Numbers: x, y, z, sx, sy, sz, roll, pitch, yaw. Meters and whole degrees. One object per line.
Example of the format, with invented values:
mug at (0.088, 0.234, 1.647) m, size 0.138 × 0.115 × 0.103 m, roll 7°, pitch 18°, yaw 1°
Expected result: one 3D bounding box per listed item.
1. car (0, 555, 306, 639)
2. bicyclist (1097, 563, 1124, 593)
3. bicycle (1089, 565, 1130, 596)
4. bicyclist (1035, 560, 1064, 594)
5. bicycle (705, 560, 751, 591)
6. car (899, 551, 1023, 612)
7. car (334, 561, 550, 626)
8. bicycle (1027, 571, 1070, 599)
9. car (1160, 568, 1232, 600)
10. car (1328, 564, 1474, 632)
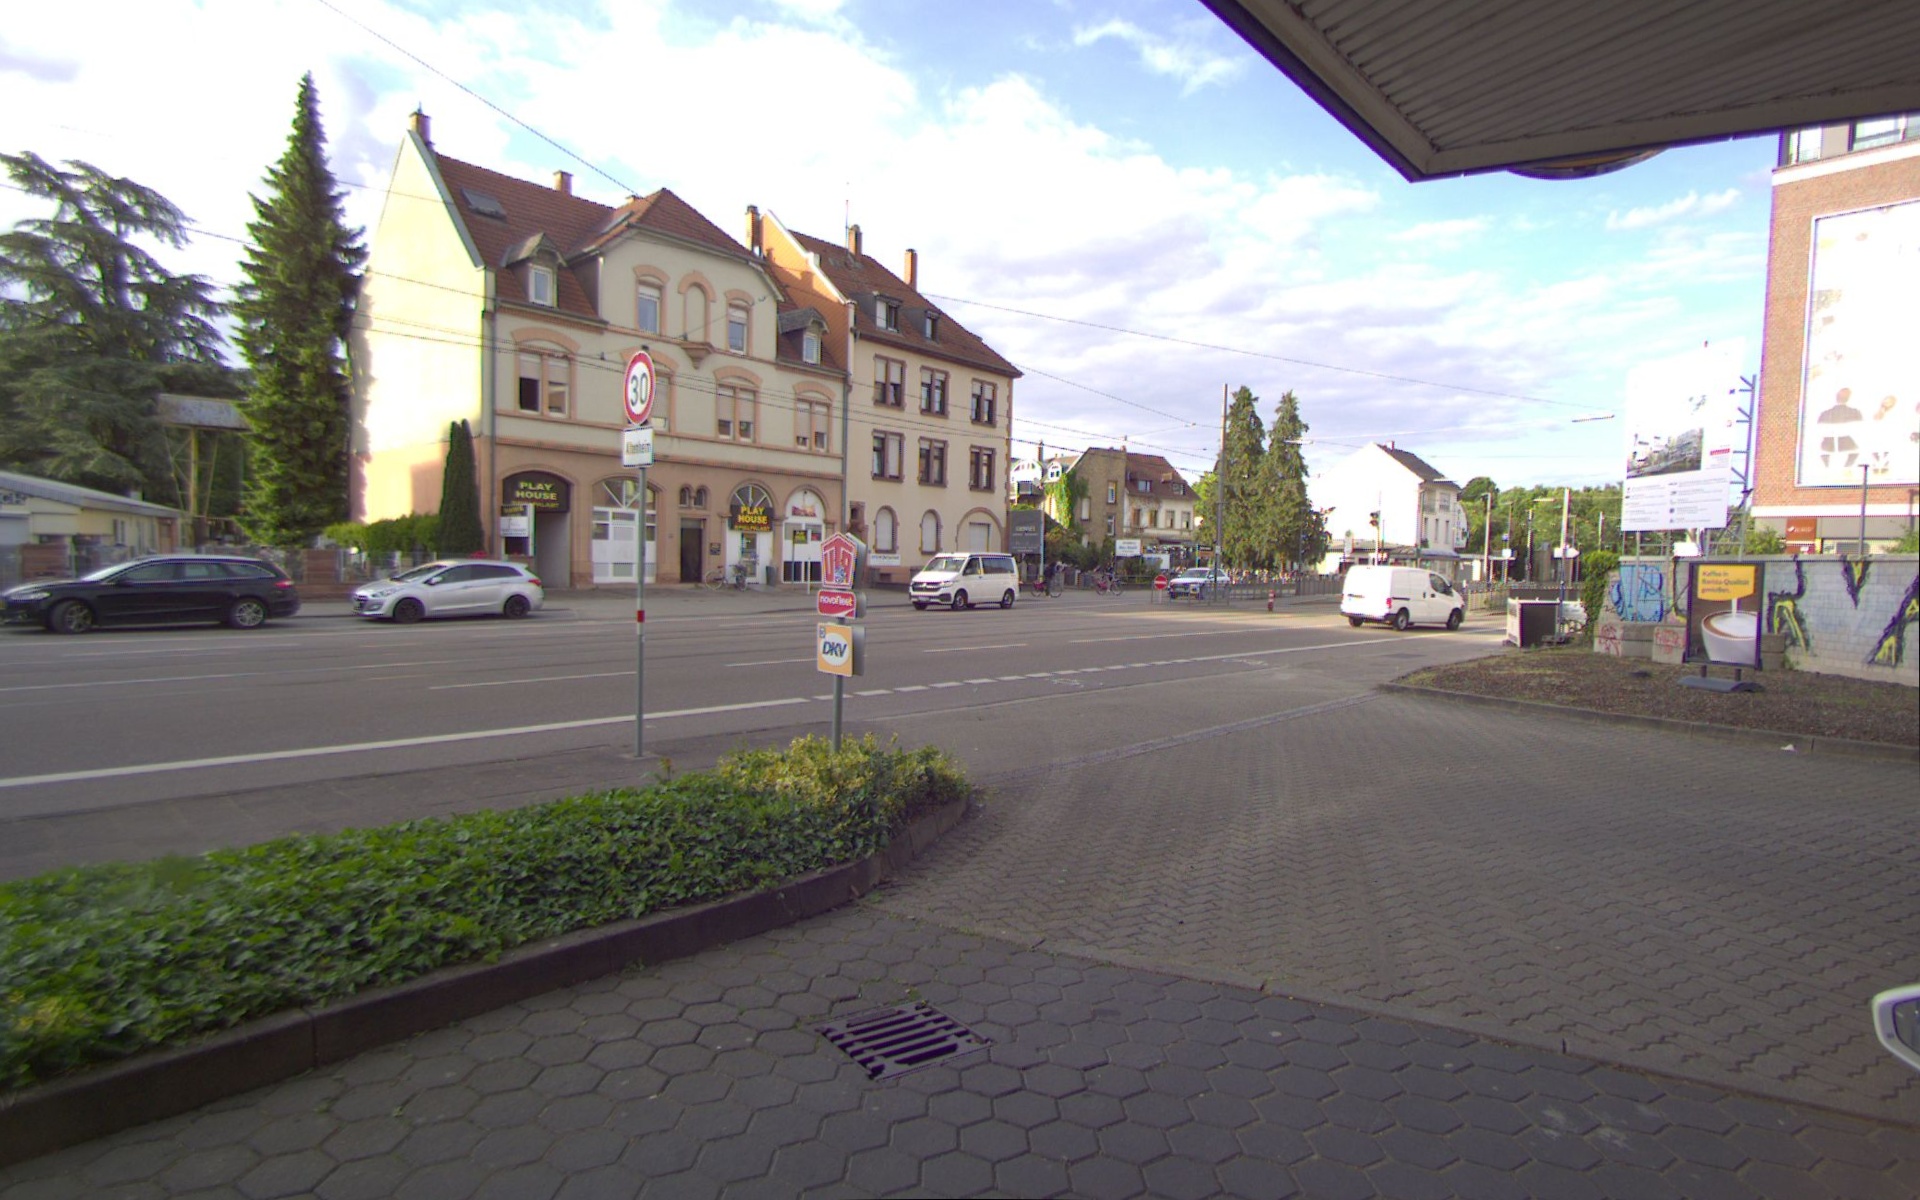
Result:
car at (-16.573, -0.141, 20.734) m, size 1.970 × 1.516 × 4.801 m, roll 3°, pitch 3°, yaw 40°
bicyclist at (7.950, -1.173, 53.054) m, size 1.079 × 1.512 × 0.785 m, roll 2°, pitch 4°, yaw -20°
bicycle at (7.897, -1.039, 53.044) m, size 1.962 × 1.512 × 0.785 m, roll 2°, pitch 4°, yaw -21°
bicyclist at (4.324, -1.107, 48.614) m, size 0.953 × 1.579 × 0.839 m, roll 1°, pitch 6°, yaw -31°
bicycle at (-9.148, -0.948, 39.712) m, size 0.508 × 1.189 × 1.809 m, roll 4°, pitch 2°, yaw 40°
car at (0.120, -0.678, 35.340) m, size 1.967 × 1.995 × 4.873 m, roll 2°, pitch 3°, yaw 35°
car at (-13.005, -0.239, 25.467) m, size 1.970 × 1.495 × 4.467 m, roll 3°, pitch 3°, yaw 40°
bicycle at (4.294, -0.716, 48.663) m, size 1.884 × 1.219 × 0.839 m, roll 1°, pitch 6°, yaw -31°
car at (12.091, -0.857, 51.275) m, size 1.813 × 1.598 × 4.360 m, roll 2°, pitch 2°, yaw 40°
car at (13.558, -0.072, 30.825) m, size 4.363 × 1.915 × 1.951 m, roll 1°, pitch 2°, yaw -33°
